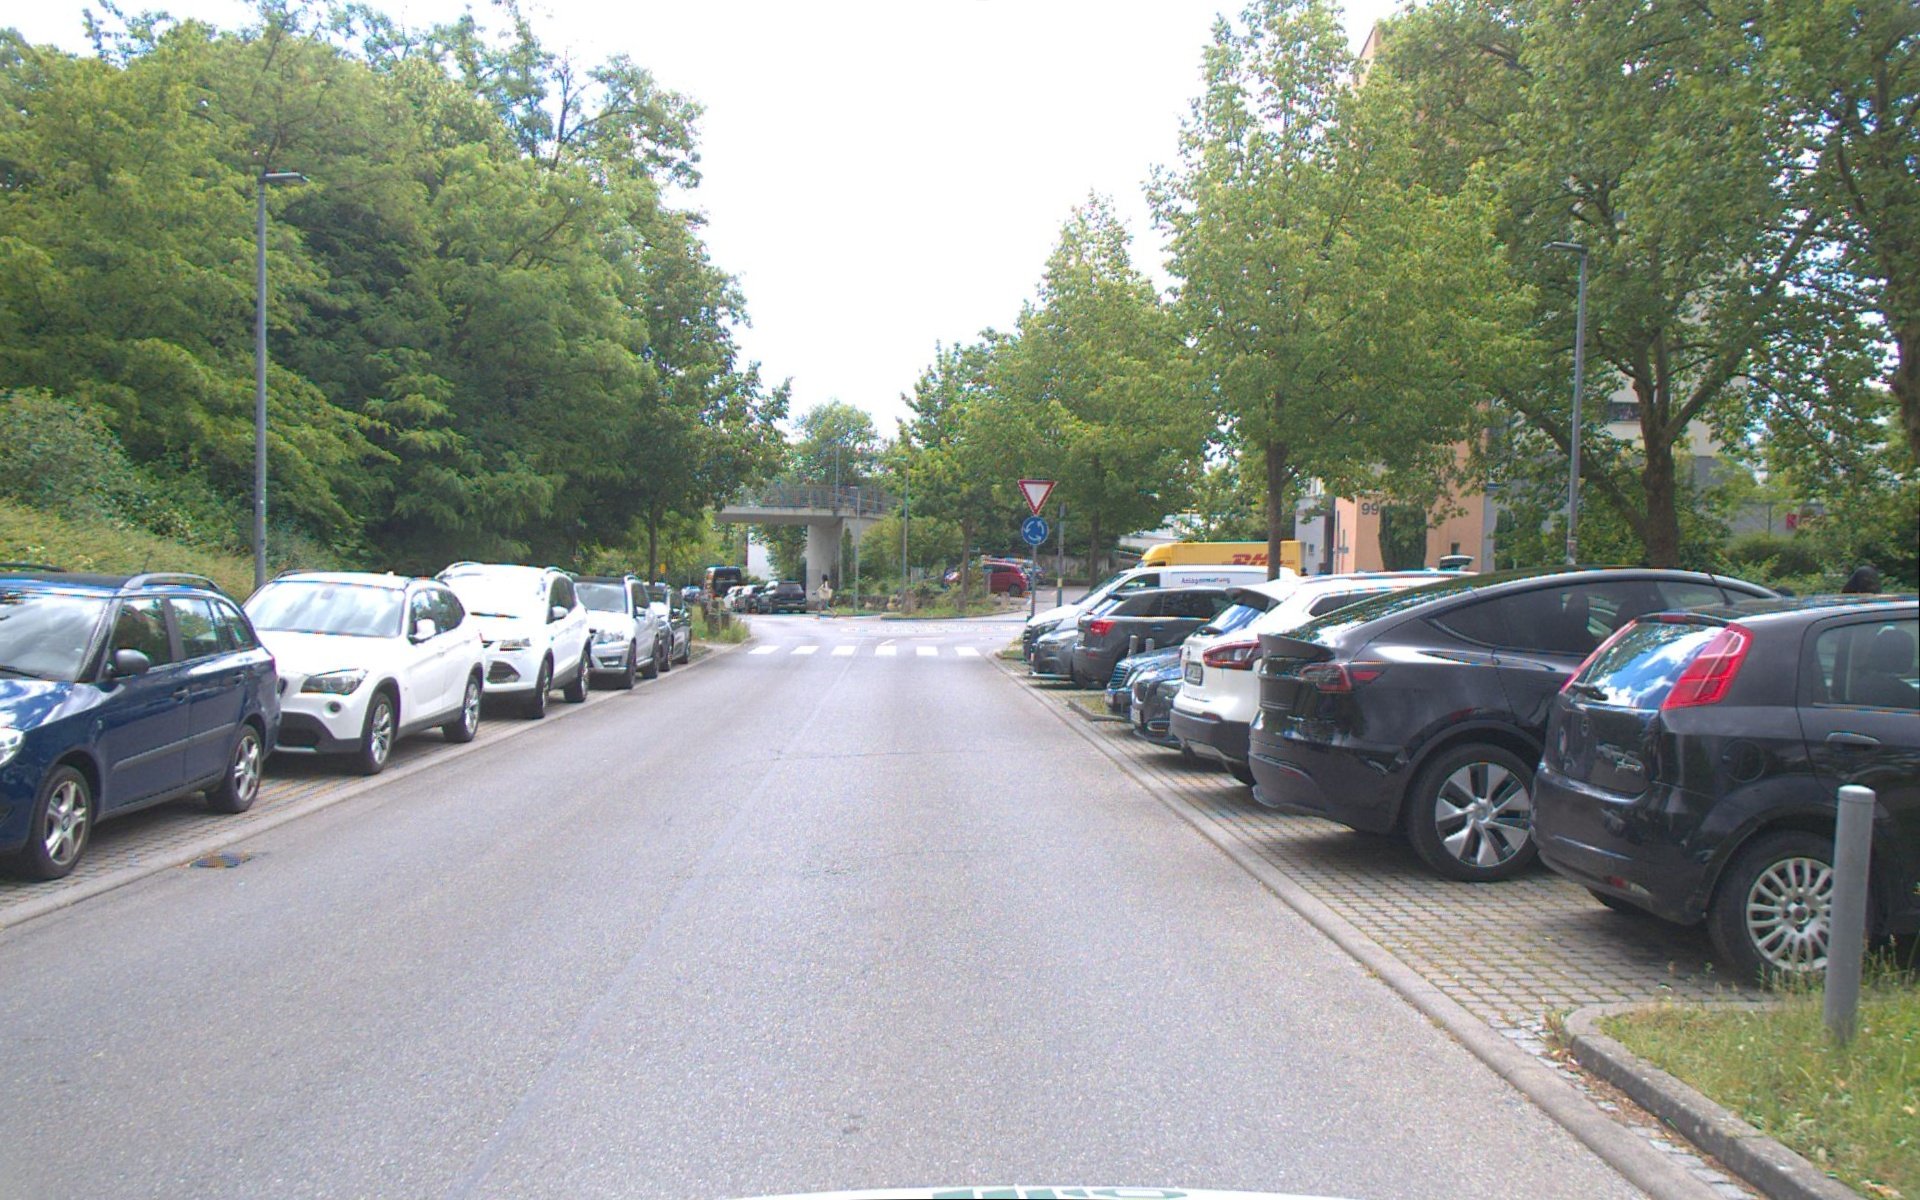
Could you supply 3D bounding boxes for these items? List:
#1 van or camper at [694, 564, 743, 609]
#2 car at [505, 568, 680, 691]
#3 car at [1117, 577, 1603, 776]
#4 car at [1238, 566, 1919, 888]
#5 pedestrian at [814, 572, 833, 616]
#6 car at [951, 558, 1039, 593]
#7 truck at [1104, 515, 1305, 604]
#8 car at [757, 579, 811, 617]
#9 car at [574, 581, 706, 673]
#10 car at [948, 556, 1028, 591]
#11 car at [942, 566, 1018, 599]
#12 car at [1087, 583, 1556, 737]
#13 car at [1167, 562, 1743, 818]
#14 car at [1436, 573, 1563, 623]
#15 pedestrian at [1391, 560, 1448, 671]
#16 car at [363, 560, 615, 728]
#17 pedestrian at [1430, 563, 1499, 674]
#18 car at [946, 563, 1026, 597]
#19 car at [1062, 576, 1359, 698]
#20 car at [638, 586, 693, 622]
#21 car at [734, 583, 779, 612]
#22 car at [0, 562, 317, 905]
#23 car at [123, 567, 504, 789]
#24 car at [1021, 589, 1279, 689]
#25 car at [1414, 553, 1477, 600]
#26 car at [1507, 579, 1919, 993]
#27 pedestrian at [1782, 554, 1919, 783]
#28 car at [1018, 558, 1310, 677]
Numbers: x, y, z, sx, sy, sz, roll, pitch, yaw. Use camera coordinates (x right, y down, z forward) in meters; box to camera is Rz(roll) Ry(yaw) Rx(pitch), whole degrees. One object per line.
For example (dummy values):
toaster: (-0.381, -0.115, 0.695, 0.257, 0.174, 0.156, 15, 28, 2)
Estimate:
van or camper: (-14.791, -0.776, 100.949, 1.963, 2.567, 5.441, -2, 0, -18)
car: (-5.638, 0.389, 25.926, 1.763, 1.643, 4.477, 4, 1, -2)
car: (3.363, 0.625, 14.564, 3.903, 1.545, 1.885, 1, 0, 5)
car: (3.467, 0.633, 9.155, 3.595, 1.602, 1.593, 0, 1, 0)
pedestrian: (-5.469, -0.237, 66.261, 0.644, 1.752, 0.740, 1, 1, 4)
car: (1.817, -1.257, 85.326, 4.449, 1.697, 1.945, 1, 1, 1)
truck: (8.576, -1.409, 58.446, 6.663, 2.749, 2.474, 3, -1, 0)
car: (-8.973, -0.079, 84.129, 1.787, 1.708, 4.344, 0, -3, -20)
car: (-5.936, 0.441, 31.150, 1.656, 1.490, 4.455, 4, 1, -2)
car: (1.415, -1.337, 82.749, 3.904, 1.642, 1.945, 1, 1, 1)
car: (1.004, -0.851, 80.415, 3.573, 1.524, 1.685, 1, 1, 4)
car: (3.737, 0.590, 17.554, 4.487, 1.518, 1.949, 0, 0, -6)
car: (3.402, 0.583, 11.901, 3.595, 1.675, 1.852, 0, 1, 0)
car: (18.956, -0.074, 58.217, 3.916, 1.646, 1.722, -1, 0, -3)
pedestrian: (7.102, 0.239, 25.593, 0.675, 1.685, 0.600, 1, 1, -3)
car: (-5.521, 0.440, 19.980, 1.771, 1.693, 4.436, 4, 1, -2)
pedestrian: (7.815, 0.284, 25.630, 0.852, 1.685, 0.592, 1, 1, -3)
car: (1.202, -0.919, 75.274, 3.573, 1.464, 1.685, 1, 1, 4)
car: (3.431, 0.489, 23.113, 3.749, 1.546, 1.910, -1, 0, -5)
car: (-13.447, 0.164, 75.313, 1.760, 1.493, 3.976, 1, 1, -21)
car: (-11.113, -0.133, 90.282, 1.673, 1.523, 4.096, 0, 0, -19)
car: (-5.296, 0.589, 9.469, 1.656, 1.513, 3.953, 4, 1, -1)
car: (-5.367, 0.548, 14.362, 1.656, 1.537, 4.229, 4, 1, -2)
car: (2.862, 0.574, 25.539, 3.746, 1.395, 1.843, -1, 0, 0)
car: (18.427, -0.888, 62.921, 1.535, 1.687, 3.780, -1, 1, 5)
car: (4.369, 0.689, 6.952, 3.595, 1.524, 1.645, 0, 1, 0)
pedestrian: (7.416, 0.547, 13.715, 0.724, 1.824, 0.878, 1, 1, -1)
car: (3.439, 0.282, 28.411, 4.680, 1.863, 1.841, -1, 0, -4)
